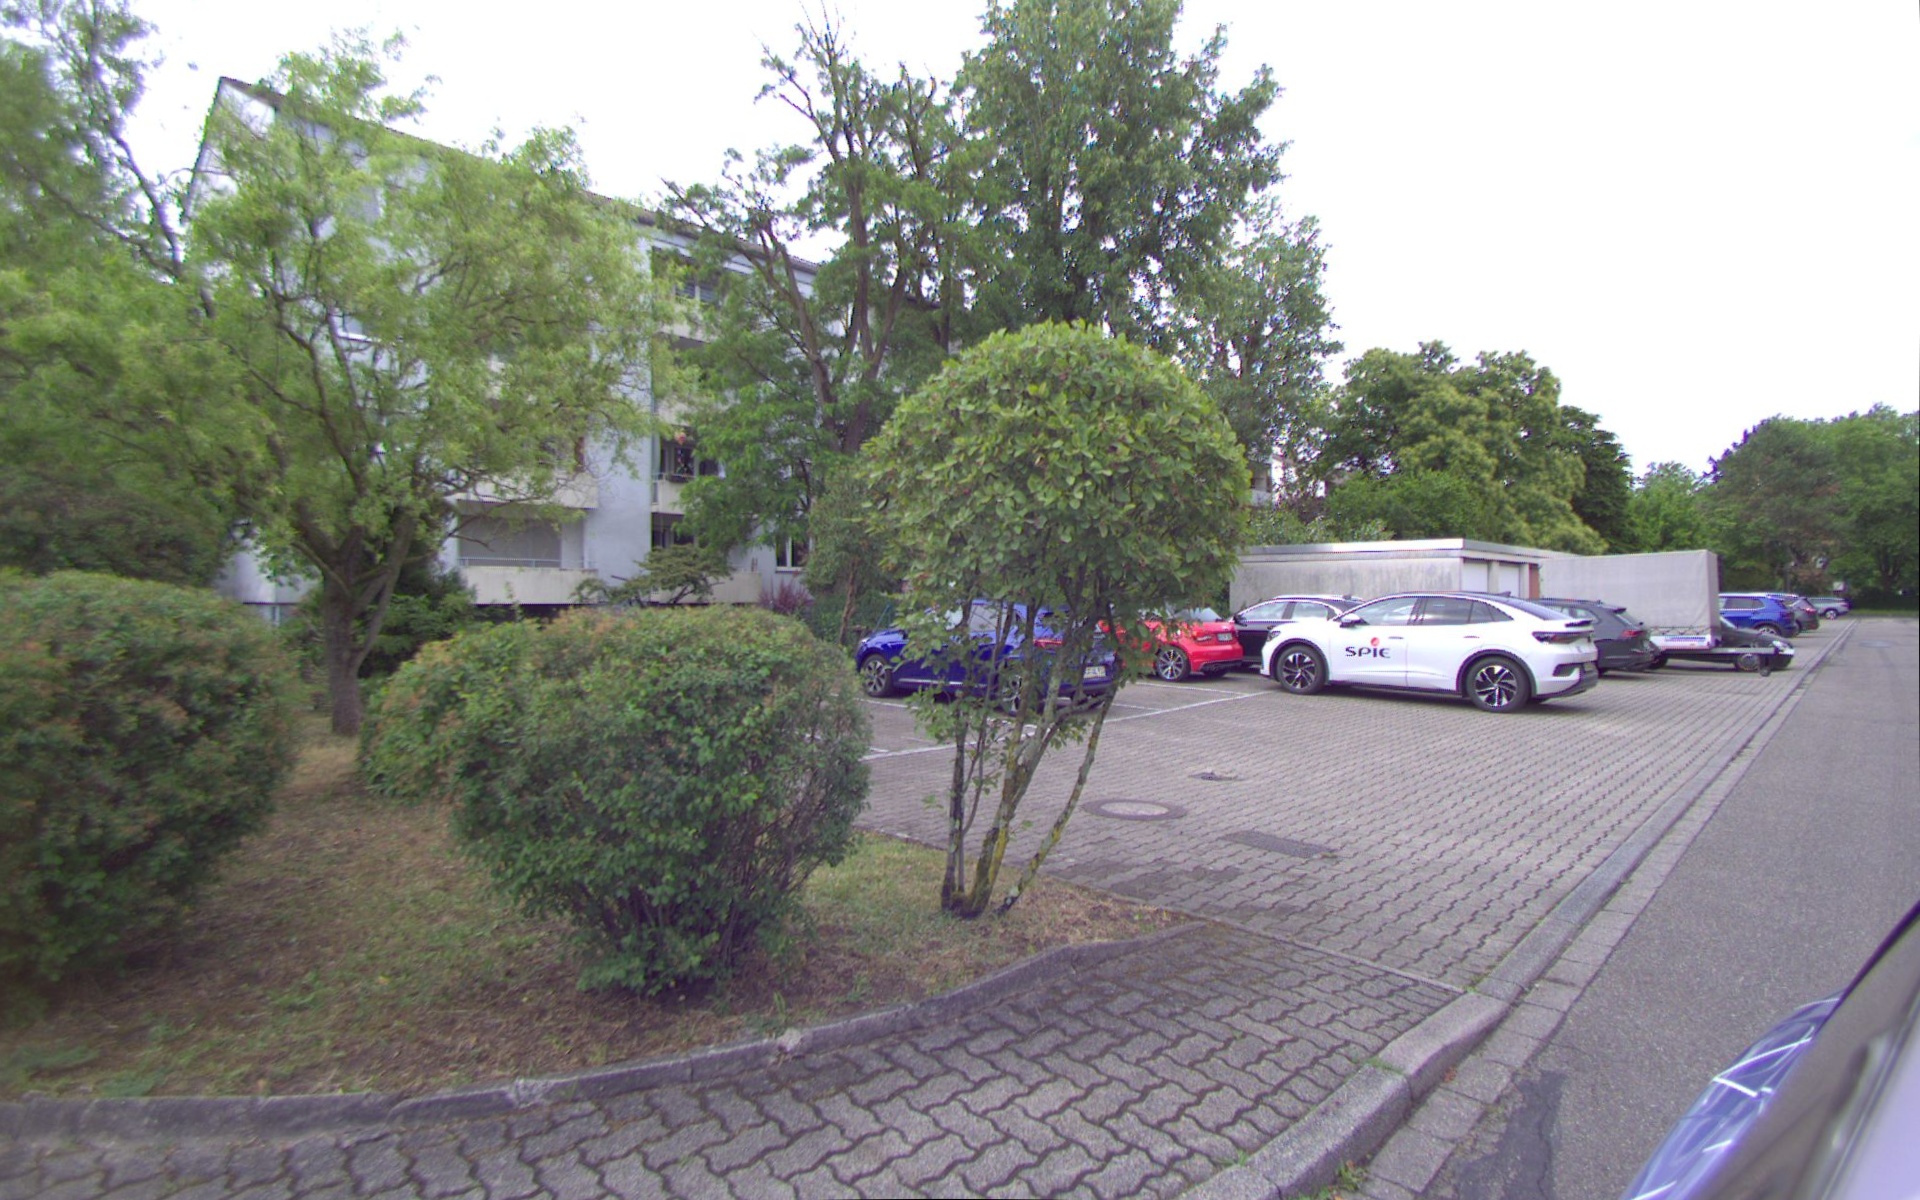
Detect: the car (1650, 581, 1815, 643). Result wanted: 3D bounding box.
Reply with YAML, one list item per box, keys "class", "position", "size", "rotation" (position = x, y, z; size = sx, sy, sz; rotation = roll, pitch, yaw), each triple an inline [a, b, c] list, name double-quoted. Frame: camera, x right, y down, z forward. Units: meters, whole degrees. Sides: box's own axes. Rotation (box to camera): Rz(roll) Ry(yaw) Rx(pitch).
- class: "car"
  position: [24.627, 0.324, 32.325]
  size: [3.987, 1.724, 1.969]
  rotation: [3, 2, 43]

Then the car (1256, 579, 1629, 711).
- class: "car"
  position: [6.852, 0.535, 14.720]
  size: [1.956, 1.609, 4.539]
  rotation: [0, 0, -45]

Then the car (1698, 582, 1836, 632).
- class: "car"
  position: [32.371, 0.248, 40.659]
  size: [4.195, 1.749, 1.969]
  rotation: [3, 2, 43]

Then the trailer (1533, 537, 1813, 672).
- class: "trailer"
  position: [14.961, 0.085, 21.423]
  size: [4.609, 2.557, 1.912]
  rotation: [0, 0, 44]

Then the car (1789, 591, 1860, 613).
- class: "car"
  position: [66.383, 0.111, 77.734]
  size: [4.091, 1.667, 1.760]
  rotation: [0, 1, 42]

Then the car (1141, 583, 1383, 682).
- class: "car"
  position: [5.705, 0.529, 19.276]
  size: [3.976, 1.571, 1.974]
  rotation: [3, 2, 36]

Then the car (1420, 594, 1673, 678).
- class: "car"
  position: [11.540, 0.629, 20.101]
  size: [4.126, 1.467, 1.587]
  rotation: [1, 1, 43]

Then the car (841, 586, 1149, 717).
- class: "car"
  position: [0.391, 0.588, 13.893]
  size: [3.897, 1.530, 1.996]
  rotation: [0, 0, 43]

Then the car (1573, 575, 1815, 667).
- class: "car"
  position: [16.931, 0.400, 23.465]
  size: [4.310, 1.824, 1.969]
  rotation: [3, 2, 43]

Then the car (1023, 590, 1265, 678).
- class: "car"
  position: [3.253, 0.531, 18.270]
  size: [3.897, 1.398, 1.941]
  rotation: [0, 0, 43]
